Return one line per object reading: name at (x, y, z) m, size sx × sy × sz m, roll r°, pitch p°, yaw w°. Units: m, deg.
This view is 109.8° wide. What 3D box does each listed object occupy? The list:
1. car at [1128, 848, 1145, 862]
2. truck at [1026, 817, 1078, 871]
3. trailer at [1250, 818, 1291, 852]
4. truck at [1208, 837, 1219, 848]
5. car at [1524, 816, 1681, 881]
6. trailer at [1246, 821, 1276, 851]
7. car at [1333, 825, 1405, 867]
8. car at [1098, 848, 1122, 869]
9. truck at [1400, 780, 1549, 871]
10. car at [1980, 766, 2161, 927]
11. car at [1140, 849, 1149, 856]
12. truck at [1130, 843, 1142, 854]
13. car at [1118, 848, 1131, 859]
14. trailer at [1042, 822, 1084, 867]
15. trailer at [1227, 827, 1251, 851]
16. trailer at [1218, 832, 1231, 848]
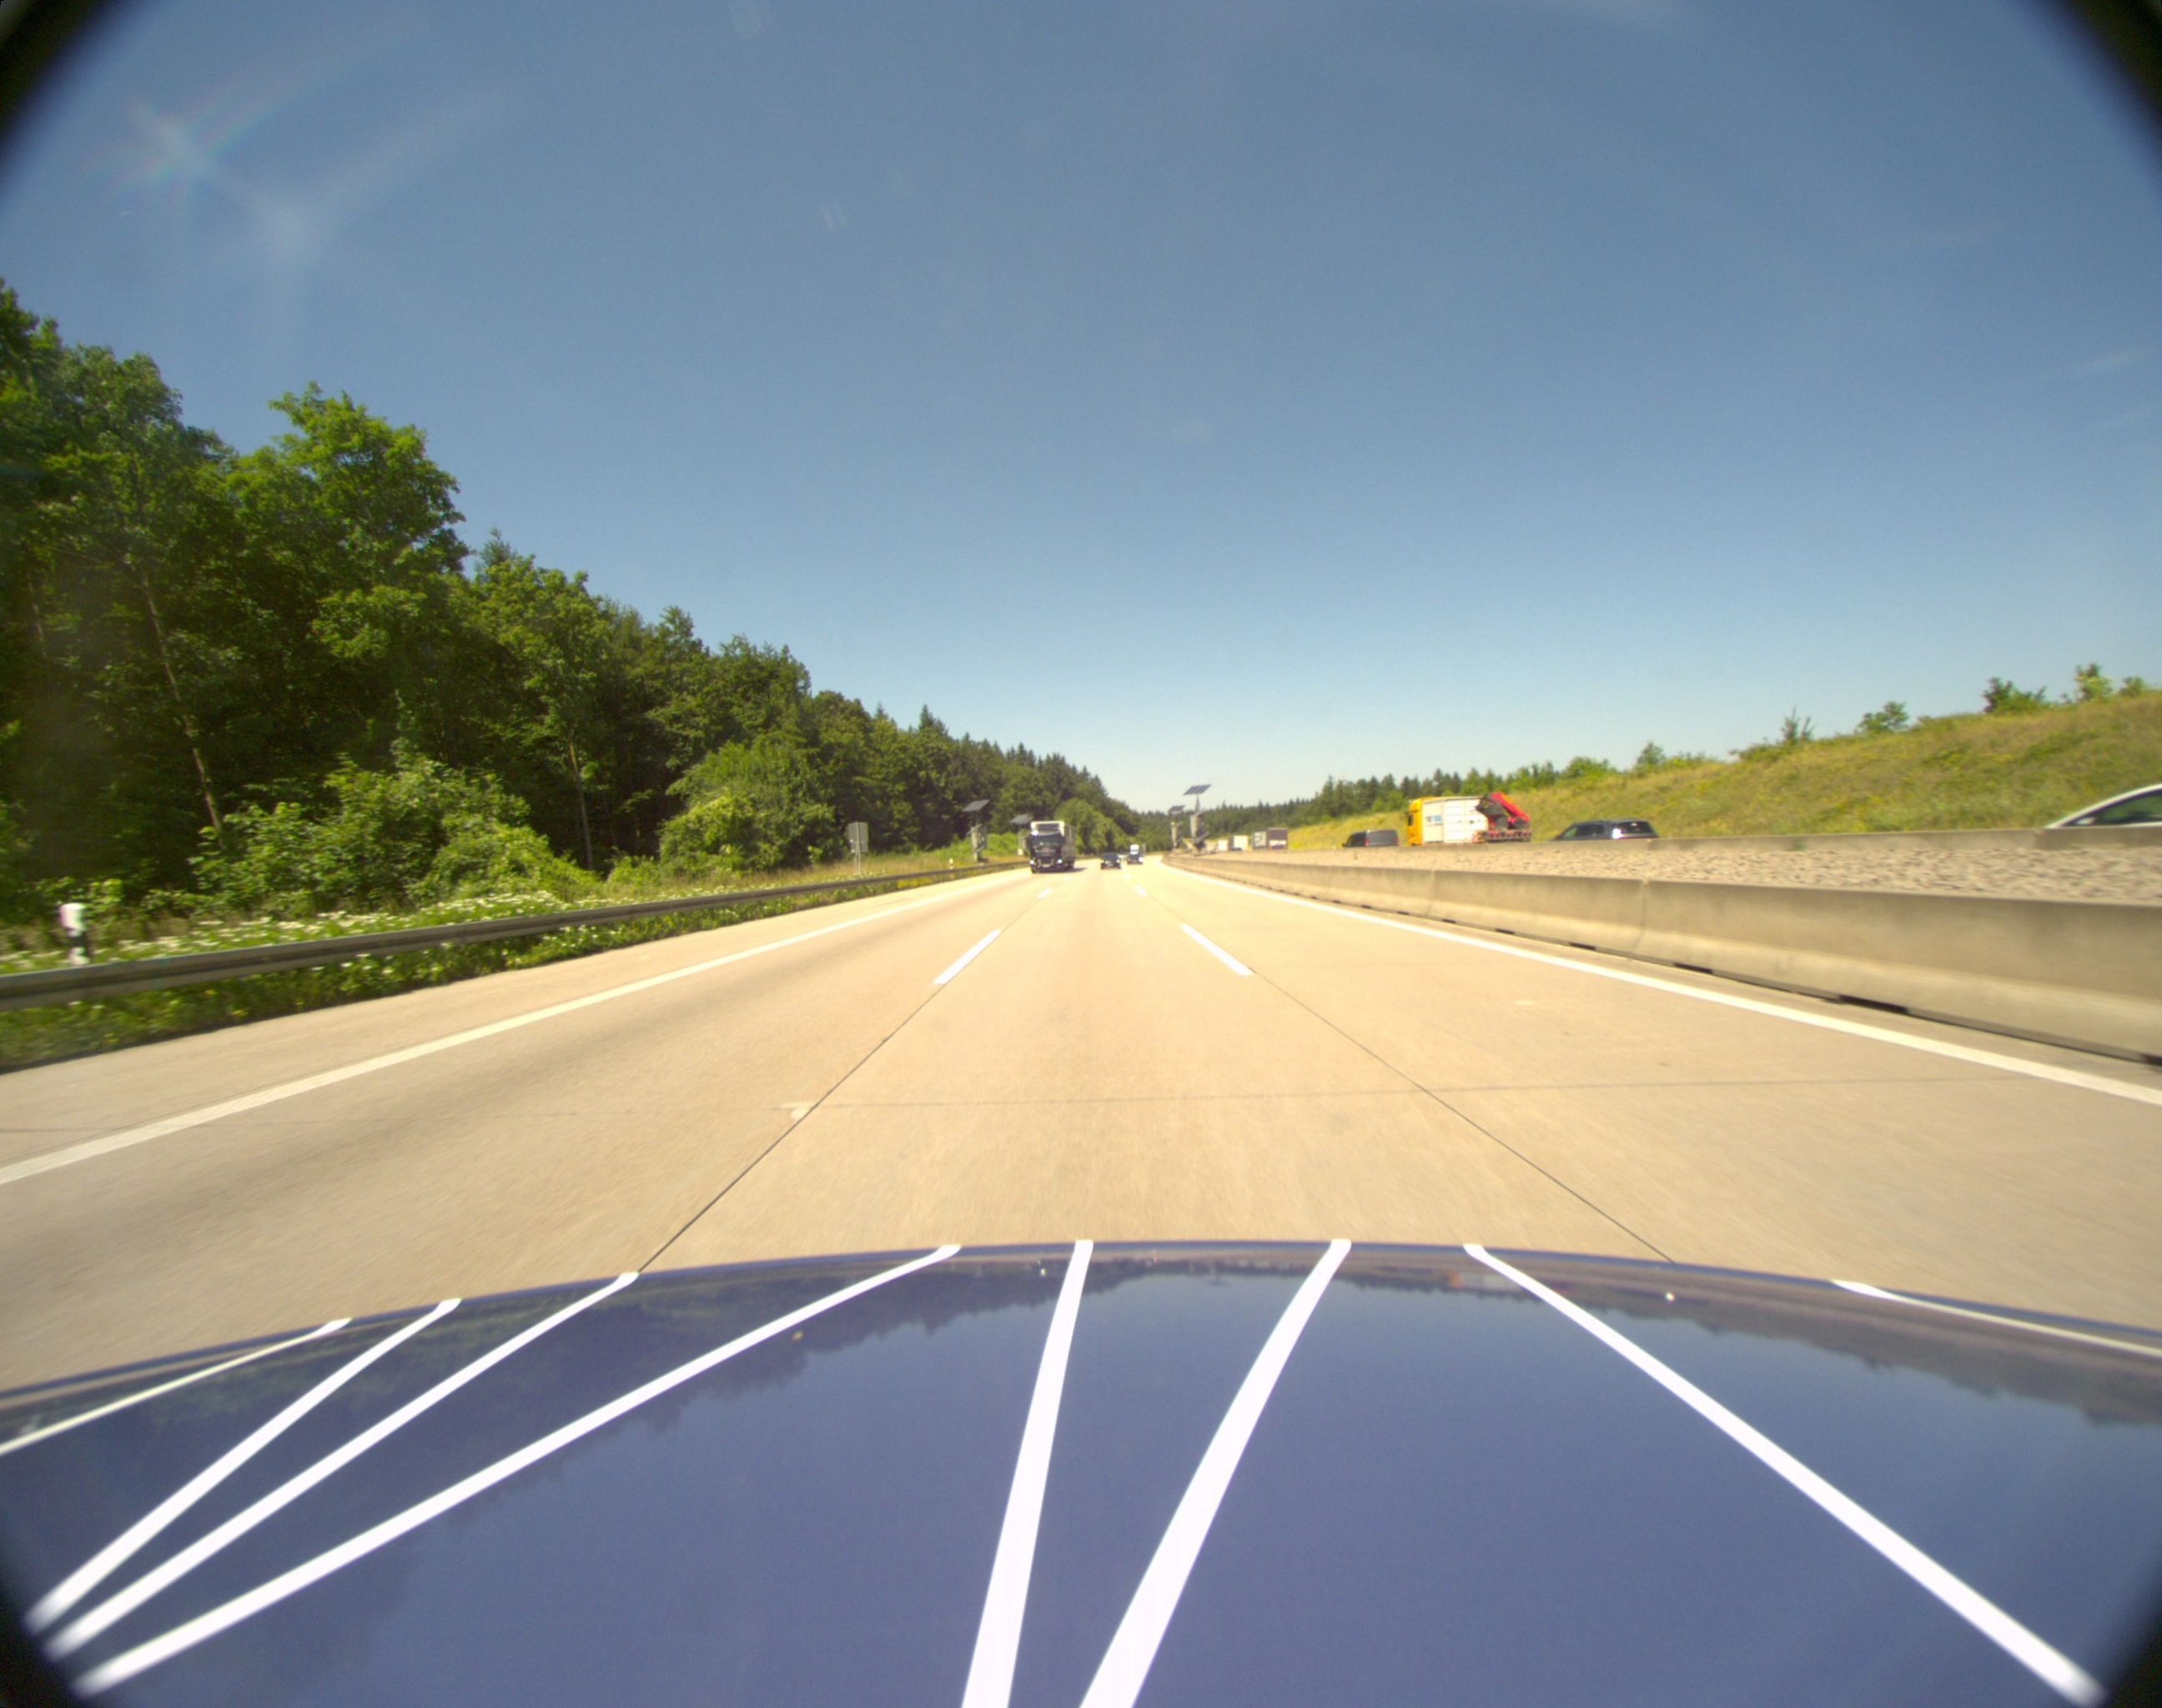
car at (6.663, 0.064, 91.115) m, size 1.842 × 1.547 × 4.000 m, roll -4°, pitch 1°, yaw 3°
truck at (-2.201, -0.808, 62.532) m, size 3.167 × 3.993 × 10.609 m, roll -2°, pitch 0°, yaw 4°
trailer at (25.814, -2.517, 104.144) m, size 2.940 × 4.144 × 13.191 m, roll -4°, pitch 1°, yaw 4°
truck at (44.798, -3.902, 256.845) m, size 2.939 × 3.196 × 5.907 m, roll -4°, pitch 1°, yaw 6°
car at (17.754, -0.179, 26.228) m, size 2.289 × 2.002 × 4.803 m, roll -1°, pitch 1°, yaw 3°
trailer at (26.253, -2.605, 111.313) m, size 2.940 × 4.144 × 6.892 m, roll -4°, pitch 1°, yaw 4°
car at (14.880, -0.402, 39.502) m, size 1.999 × 2.002 × 4.459 m, roll -1°, pitch 1°, yaw 0°
car at (2.676, 0.391, 69.345) m, size 1.930 × 1.694 × 4.400 m, roll -4°, pitch 0°, yaw 3°
truck at (22.073, -1.488, 43.707) m, size 2.921 × 4.487 × 11.258 m, roll -1°, pitch 0°, yaw 1°
car at (14.386, -0.109, 9.086) m, size 1.999 × 2.002 × 4.459 m, roll -1°, pitch 1°, yaw 0°
car at (15.783, -0.313, 189.365) m, size 1.841 × 1.547 × 4.002 m, roll -3°, pitch 1°, yaw 9°
truck at (15.735, -1.583, 217.685) m, size 2.481 × 2.779 × 5.920 m, roll -4°, pitch 1°, yaw 13°
car at (7.511, -0.028, 131.447) m, size 1.998 × 1.694 × 4.400 m, roll -4°, pitch 0°, yaw 4°
trailer at (-1.585, -0.888, 72.366) m, size 3.142 × 3.993 × 9.089 m, roll -2°, pitch 0°, yaw 4°
trailer at (30.237, -2.796, 146.131) m, size 2.939 × 4.144 × 14.393 m, roll -3°, pitch 1°, yaw 7°
trailer at (38.550, -3.730, 204.480) m, size 2.939 × 4.144 × 14.395 m, roll -3°, pitch 1°, yaw 9°
